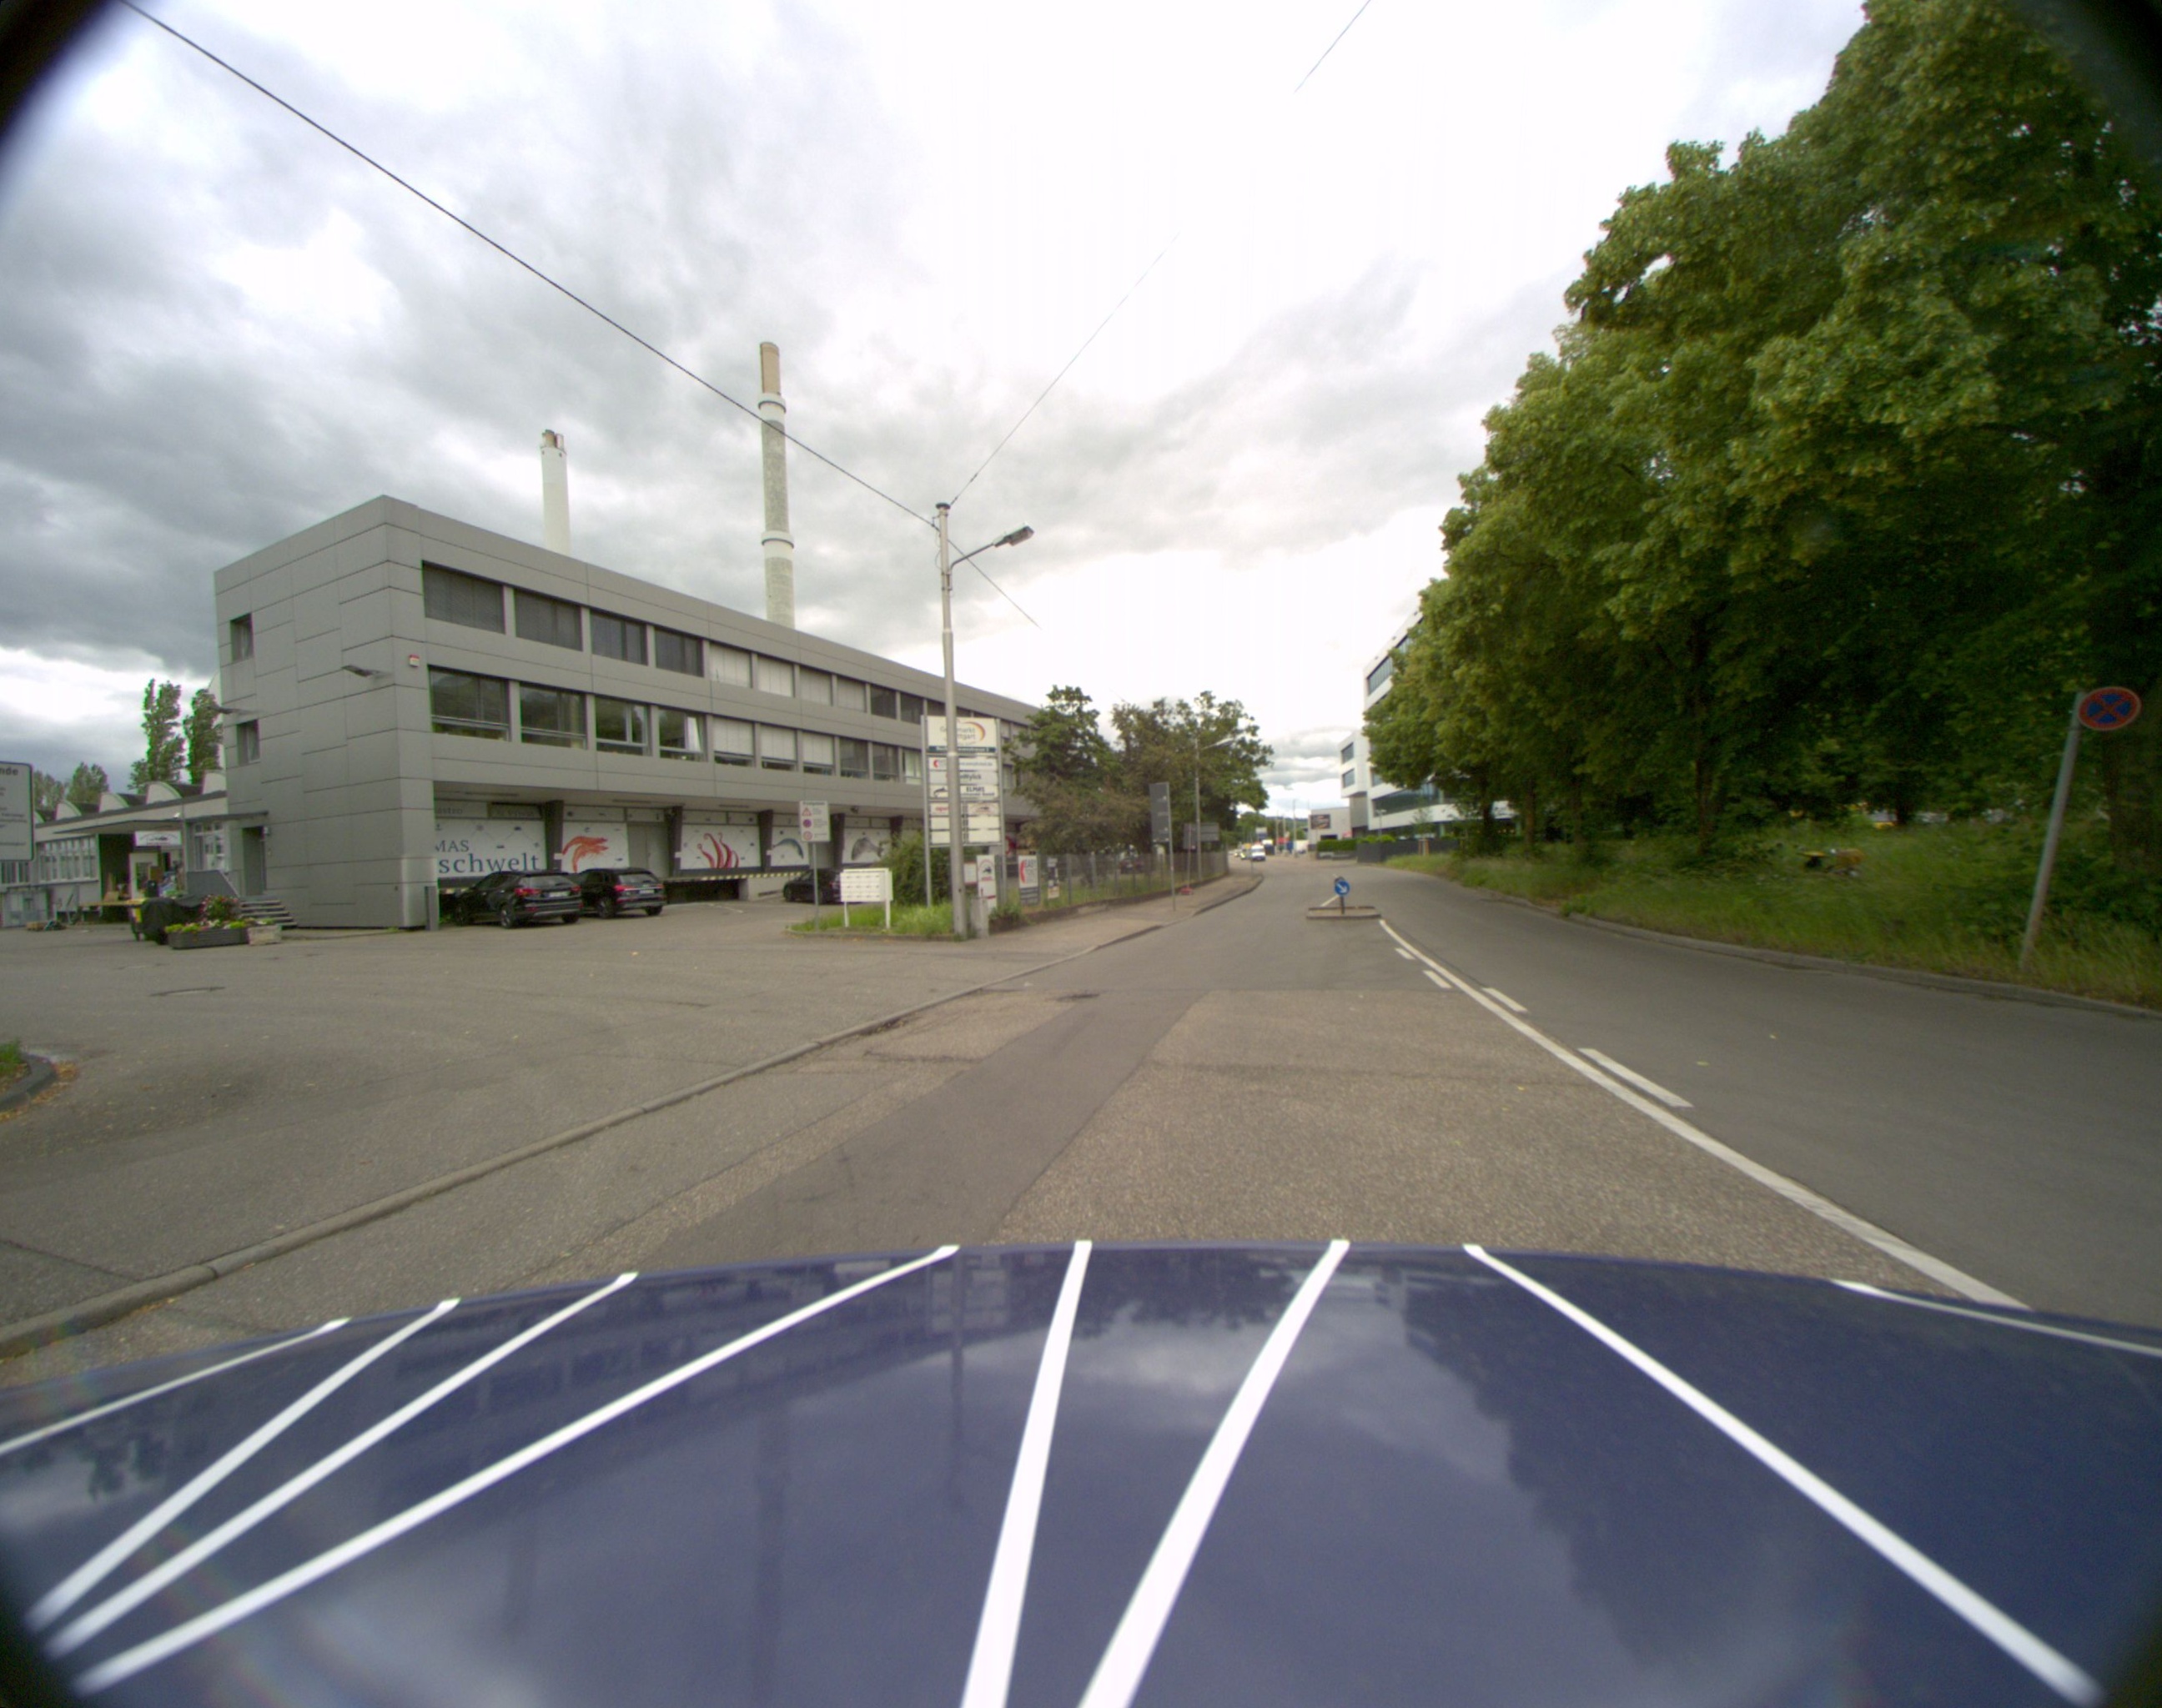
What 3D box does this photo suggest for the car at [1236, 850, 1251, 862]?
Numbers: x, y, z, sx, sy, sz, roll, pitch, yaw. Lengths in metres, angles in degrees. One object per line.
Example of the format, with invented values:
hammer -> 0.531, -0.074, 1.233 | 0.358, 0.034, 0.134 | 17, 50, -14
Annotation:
car -> 27.786, 0.254, 129.953 | 2.386, 1.859, 5.211 | -3, 0, 12

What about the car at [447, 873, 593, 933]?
car -> -17.161, 1.418, 23.197 | 4.453, 1.608, 1.842 | -1, 1, 29

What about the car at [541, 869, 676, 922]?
car -> -16.030, 1.355, 25.747 | 4.412, 1.608, 1.842 | -1, 1, 28

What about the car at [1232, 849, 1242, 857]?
car -> 38.990, -0.321, 189.766 | 2.386, 1.859, 5.211 | -3, 0, 12

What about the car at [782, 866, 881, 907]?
car -> -10.659, 1.317, 32.275 | 2.055, 1.437, 4.814 | -3, 2, -44

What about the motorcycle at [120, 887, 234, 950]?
motorcycle -> -26.700, 1.859, 22.543 | 1.198, 1.645, 2.888 | -2, 0, -30

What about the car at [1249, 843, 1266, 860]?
car -> 27.189, -0.461, 117.004 | 2.386, 2.444, 6.105 | -3, 0, 12

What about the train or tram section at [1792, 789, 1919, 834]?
train or tram section -> 74.723, -3.866, 74.091 | 3.269, 3.644, 19.207 | -2, 0, 29
